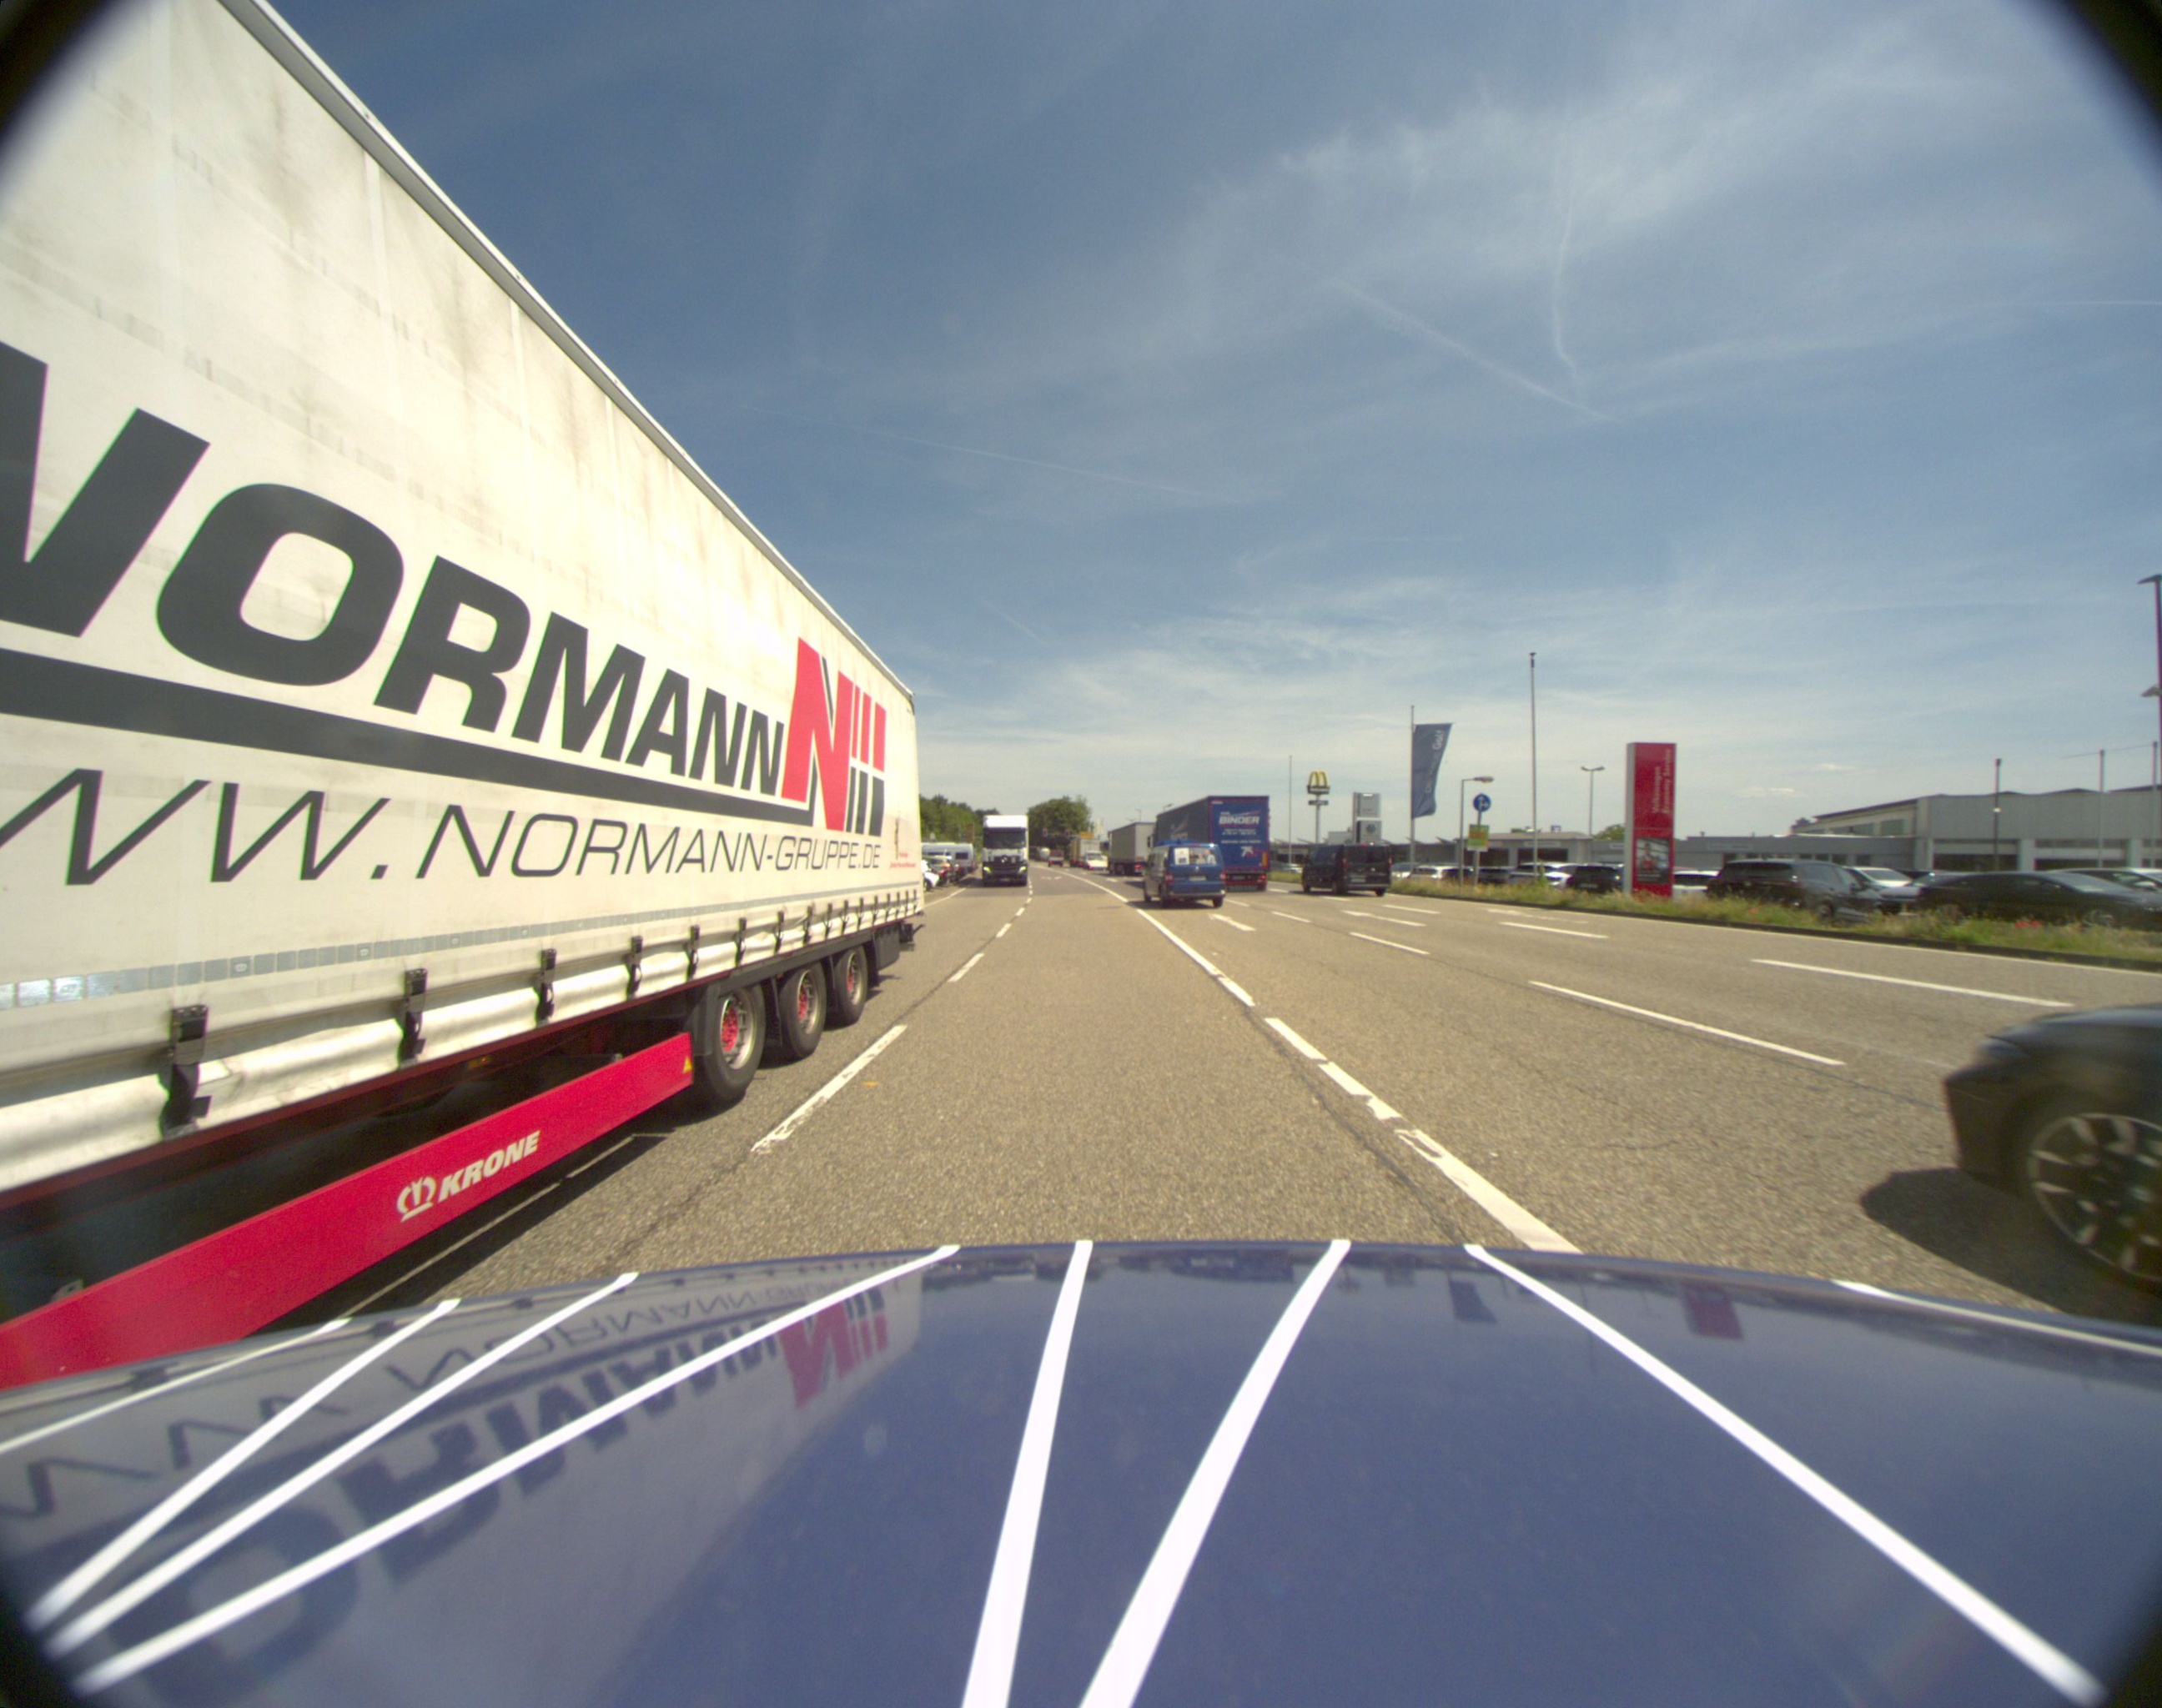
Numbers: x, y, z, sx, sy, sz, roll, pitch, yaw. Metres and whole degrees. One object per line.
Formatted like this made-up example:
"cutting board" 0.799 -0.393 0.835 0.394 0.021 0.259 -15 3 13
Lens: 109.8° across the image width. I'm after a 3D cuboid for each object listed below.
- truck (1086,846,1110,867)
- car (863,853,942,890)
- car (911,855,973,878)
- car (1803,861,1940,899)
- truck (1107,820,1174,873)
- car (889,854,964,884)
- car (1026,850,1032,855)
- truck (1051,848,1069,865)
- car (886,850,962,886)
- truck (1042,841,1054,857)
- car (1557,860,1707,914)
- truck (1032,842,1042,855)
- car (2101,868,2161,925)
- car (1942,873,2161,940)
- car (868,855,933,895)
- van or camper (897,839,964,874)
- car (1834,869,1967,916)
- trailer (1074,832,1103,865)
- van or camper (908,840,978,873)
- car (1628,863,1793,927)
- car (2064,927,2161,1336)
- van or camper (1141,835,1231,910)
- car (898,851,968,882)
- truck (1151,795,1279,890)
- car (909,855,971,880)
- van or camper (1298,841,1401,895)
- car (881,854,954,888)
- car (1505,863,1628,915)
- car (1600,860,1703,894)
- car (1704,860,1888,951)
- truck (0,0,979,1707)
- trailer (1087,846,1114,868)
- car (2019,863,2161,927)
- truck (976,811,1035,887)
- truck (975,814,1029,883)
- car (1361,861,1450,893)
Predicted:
"truck" 1.981 0.256 90.954 2.432 2.327 5.673 2 0 -3
"car" -8.756 0.861 37.536 3.538 1.469 1.831 5 0 -7
"car" -10.040 0.900 55.288 4.278 1.405 2.161 4 0 -8
"car" 32.081 1.012 30.996 1.639 1.412 3.704 0 0 -2
"truck" 4.683 -0.663 64.470 2.798 3.867 16.471 -1 1 -6
"car" -9.165 0.878 45.214 4.149 1.414 1.791 4 0 -7
"car" -15.808 -0.499 230.733 1.689 1.420 4.151 2 1 -5
"truck" -3.177 0.309 112.180 2.403 2.430 6.868 -1 1 -4
"car" -8.810 0.789 42.836 3.866 1.681 1.942 4 0 -4
"truck" -8.816 -1.246 199.799 2.612 3.995 15.123 1 0 -4
"car" 16.368 0.913 22.561 4.005 1.477 1.816 0 0 -23
"truck" -14.696 -1.712 250.807 2.852 3.931 17.079 0 0 -5
"car" 30.035 1.158 19.707 1.711 1.526 3.999 0 0 -2
"car" 25.126 1.244 19.375 1.711 1.432 3.999 0 0 -2
"car" -7.746 0.862 32.916 1.999 1.425 3.998 5 0 -4
"van or camper" -12.951 0.208 65.538 5.384 2.889 2.231 0 1 -4
"car" 27.374 1.227 25.388 4.006 1.390 1.996 0 0 -27
"trailer" 0.903 -0.720 105.466 3.020 4.262 10.053 1 0 -5
"van or camper" -11.448 0.218 63.192 5.491 2.714 2.231 0 0 -4
"car" 16.867 1.025 20.344 4.006 1.510 1.995 0 0 -27
"car" 4.456 0.893 0.604 1.853 1.264 4.174 -2 1 -4
"van or camper" 3.244 0.539 24.689 1.842 2.125 5.341 -1 0 -4
"car" -9.439 0.785 48.348 4.028 1.664 2.197 4 0 -19
"truck" 6.272 -0.451 39.554 2.852 3.866 17.001 0 0 -3
"car" -9.760 0.928 52.840 4.023 1.473 1.977 4 0 -8
"van or camper" 10.313 0.504 29.729 1.999 1.924 5.382 0 0 -2
"car" -8.641 0.891 40.357 3.538 1.469 1.831 5 0 -7
"car" 16.314 1.112 25.479 4.189 1.577 1.778 0 0 -31
"car" 24.823 0.956 33.226 1.639 1.412 3.704 0 0 -2
"car" 15.541 1.013 16.493 4.006 1.695 1.838 -1 1 -30
"truck" -3.101 -0.419 2.378 2.981 4.070 17.632 -2 0 0
"trailer" 2.159 0.284 87.021 2.435 2.325 6.894 2 0 -3
"car" 27.511 1.028 19.554 1.711 1.526 3.999 0 0 -2
"truck" -4.487 -0.274 43.900 2.983 3.986 6.321 2 0 -8
"truck" -5.668 -0.325 51.996 2.983 3.986 14.111 2 0 -8
"car" 15.725 1.093 36.770 4.269 1.447 1.777 1 1 -31
